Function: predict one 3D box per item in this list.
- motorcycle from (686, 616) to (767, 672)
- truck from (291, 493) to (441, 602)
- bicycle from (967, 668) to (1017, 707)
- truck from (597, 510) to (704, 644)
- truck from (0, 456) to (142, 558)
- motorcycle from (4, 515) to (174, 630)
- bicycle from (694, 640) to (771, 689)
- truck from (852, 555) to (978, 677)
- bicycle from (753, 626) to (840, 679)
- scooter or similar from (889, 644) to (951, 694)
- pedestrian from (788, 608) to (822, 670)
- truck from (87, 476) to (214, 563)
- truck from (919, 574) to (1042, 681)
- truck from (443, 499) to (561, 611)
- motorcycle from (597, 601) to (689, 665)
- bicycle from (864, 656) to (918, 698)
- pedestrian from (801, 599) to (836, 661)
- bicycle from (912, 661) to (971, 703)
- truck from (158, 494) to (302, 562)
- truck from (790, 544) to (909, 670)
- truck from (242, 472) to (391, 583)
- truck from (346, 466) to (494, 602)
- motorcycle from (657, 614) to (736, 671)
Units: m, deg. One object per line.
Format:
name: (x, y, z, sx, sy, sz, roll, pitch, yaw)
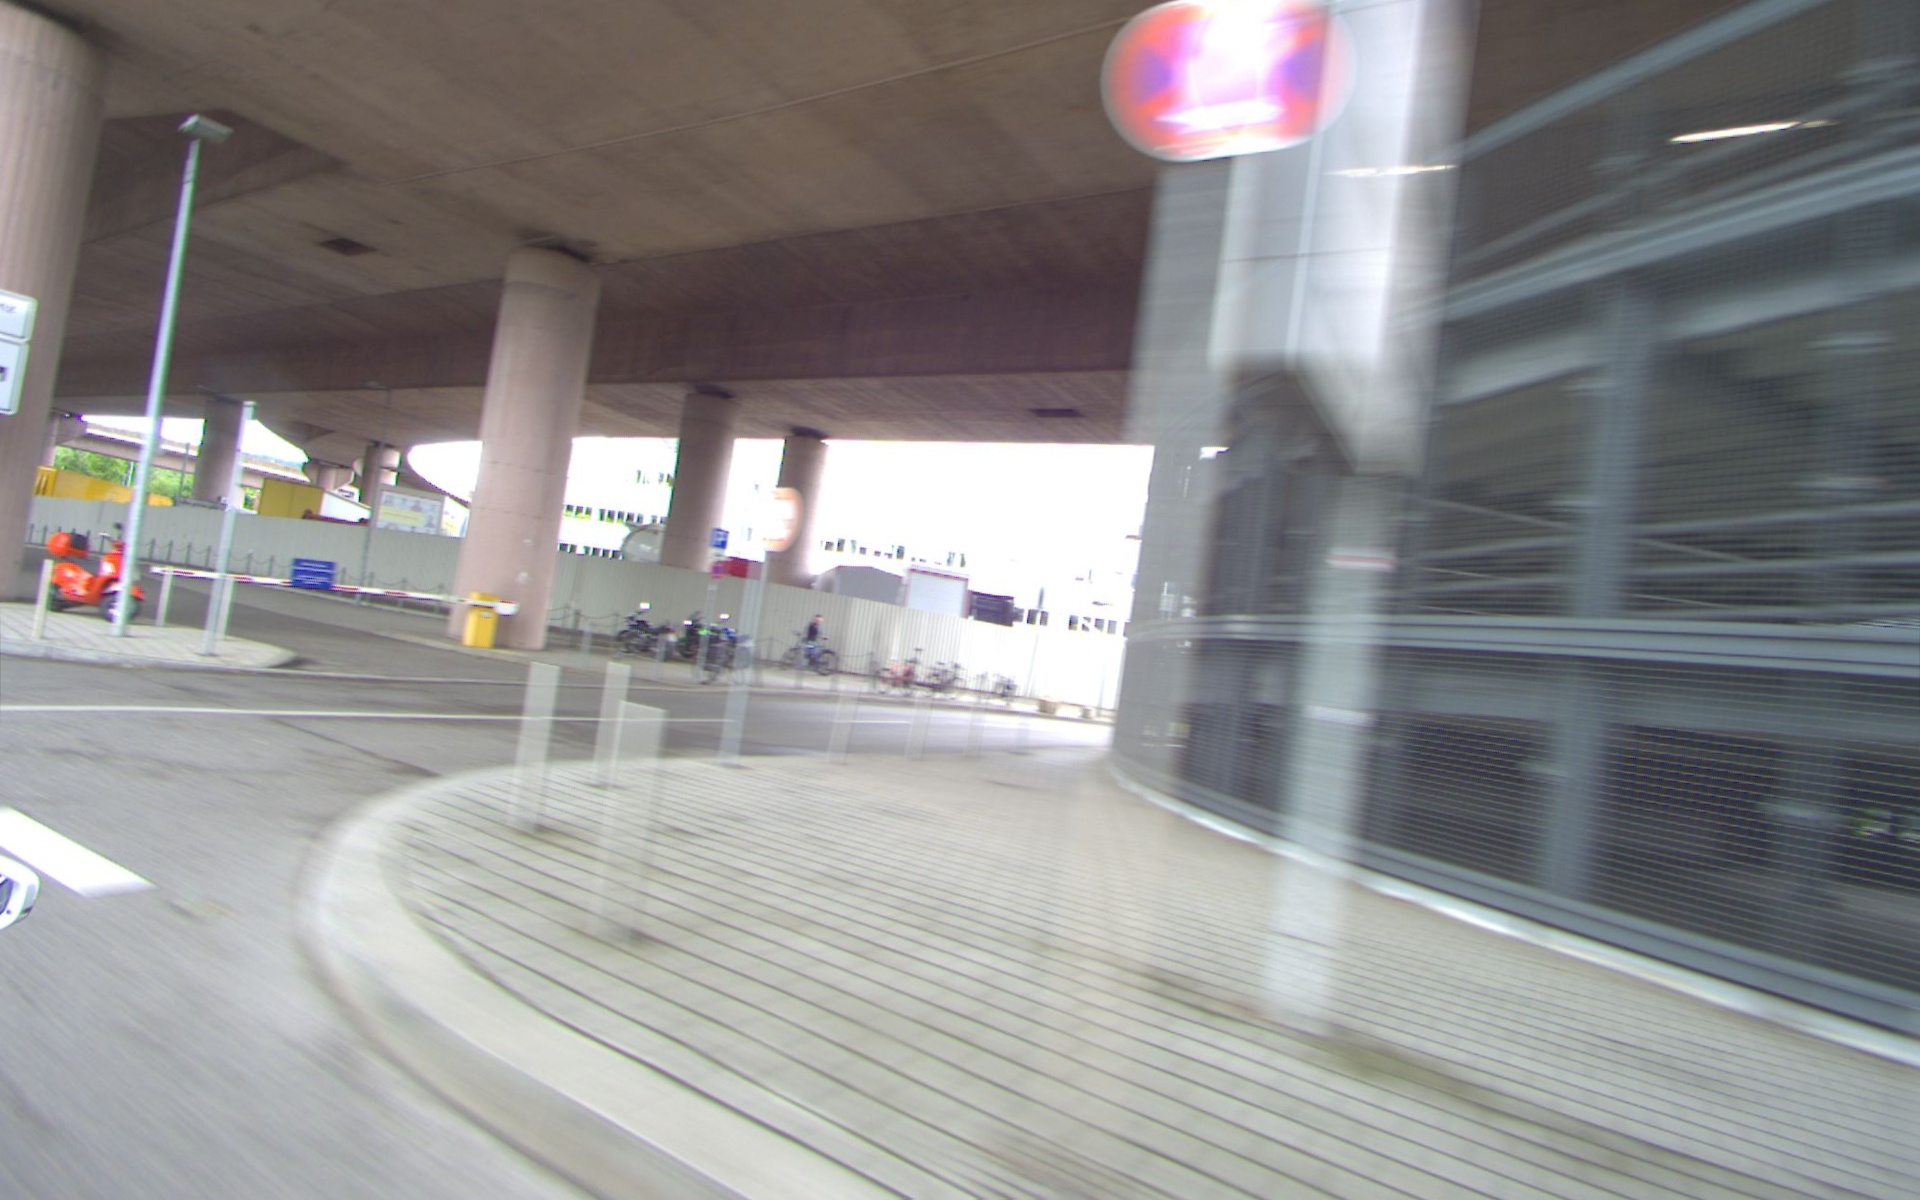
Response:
motorcycle: (-6.478, 1.212, 27.850, 2.291, 1.118, 0.573, 11, 0, 32)
truck: (-27.870, -2.207, 47.878, 2.852, 4.232, 10.045, 7, -2, -13)
bicycle: (1.012, 2.734, 31.414, 0.431, 1.035, 1.728, 8, -3, 43)
truck: (-12.197, -0.753, 40.578, 2.965, 4.353, 10.276, 7, -2, -13)
truck: (-55.976, -5.606, 63.174, 3.099, 4.971, 8.703, 8, -3, -13)
motorcycle: (-12.898, -0.403, 14.902, 2.089, 1.383, 0.799, 8, -1, 17)
bicycle: (-5.032, 1.462, 22.397, 0.411, 0.936, 2.020, 8, -2, 25)
truck: (-2.149, 0.639, 42.356, 2.867, 4.286, 8.744, 7, -2, -16)
bicycle: (-4.766, 1.533, 29.364, 2.297, 1.118, 0.618, 11, 0, -17)
scooter or similar: (-1.232, 2.125, 31.082, 1.655, 1.232, 0.542, 11, 0, -14)
pedestrian: (-4.884, 1.227, 31.728, 0.499, 1.847, 0.642, 6, -2, 39)
truck: (-58.152, -5.605, 72.642, 3.099, 4.957, 8.703, 8, -3, -13)
truck: (0.744, 1.205, 47.660, 2.867, 4.286, 8.744, 7, -2, -16)
truck: (-20.709, -1.804, 46.127, 2.770, 4.206, 9.907, 7, -2, -14)
motorcycle: (-8.016, 0.820, 25.378, 2.498, 1.249, 0.782, 8, 0, 38)
bicycle: (-1.898, 2.149, 27.870, 0.429, 0.993, 1.733, 8, -2, 32)
pedestrian: (-4.411, 0.945, 31.431, 0.499, 1.847, 0.693, 6, -2, 40)
bicycle: (-0.525, 2.432, 29.693, 0.390, 1.035, 2.057, 8, -3, 39)
truck: (-40.868, -3.918, 56.761, 3.096, 2.980, 8.698, 5, 0, -12)
truck: (-4.667, 0.285, 40.458, 2.867, 4.207, 8.744, 7, -2, -16)
truck: (-32.377, -3.419, 51.211, 3.099, 4.494, 9.702, 7, -2, -14)
truck: (-23.872, -2.624, 45.193, 3.099, 4.980, 9.702, 7, -2, -14)
motorcycle: (-7.072, 1.127, 26.967, 2.292, 1.118, 0.543, 9, -1, 35)
